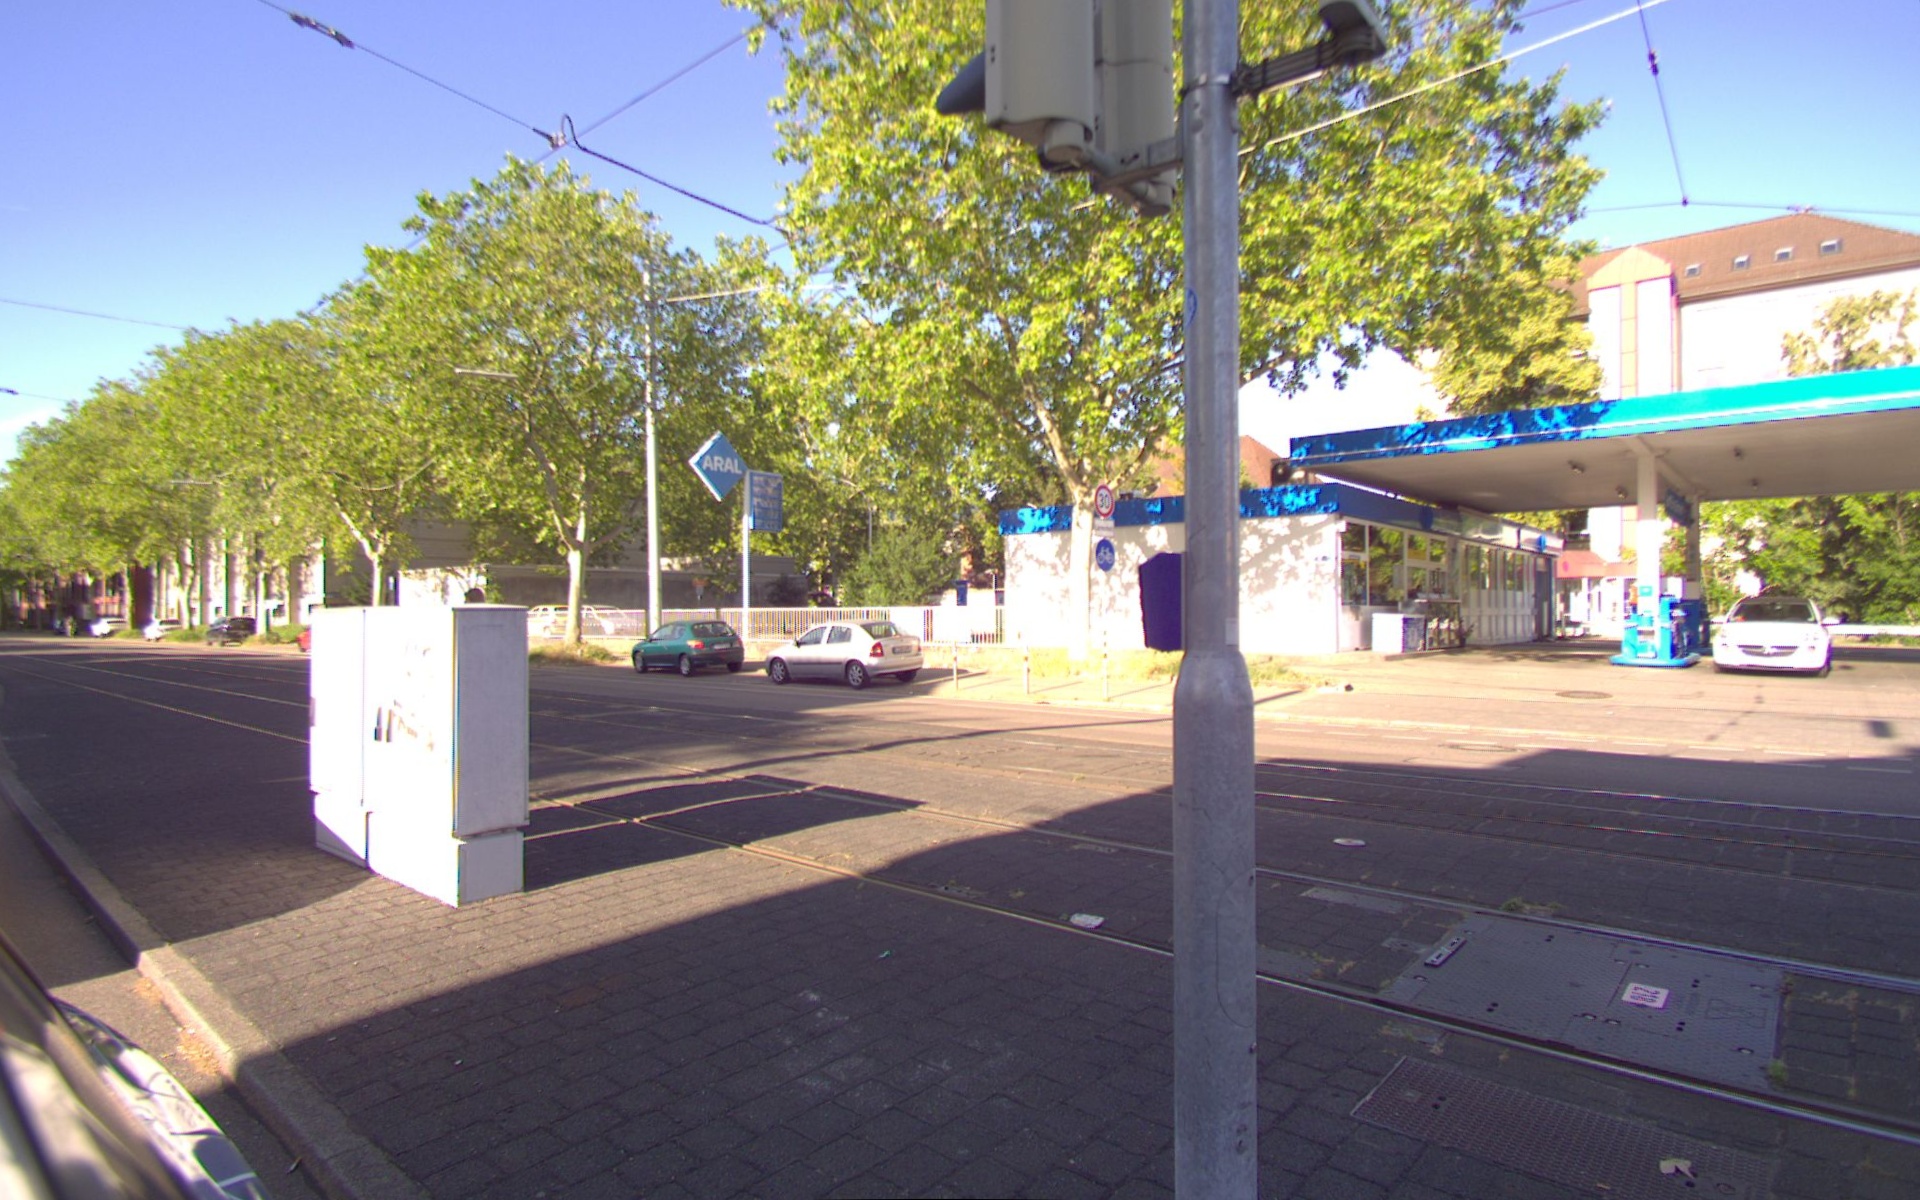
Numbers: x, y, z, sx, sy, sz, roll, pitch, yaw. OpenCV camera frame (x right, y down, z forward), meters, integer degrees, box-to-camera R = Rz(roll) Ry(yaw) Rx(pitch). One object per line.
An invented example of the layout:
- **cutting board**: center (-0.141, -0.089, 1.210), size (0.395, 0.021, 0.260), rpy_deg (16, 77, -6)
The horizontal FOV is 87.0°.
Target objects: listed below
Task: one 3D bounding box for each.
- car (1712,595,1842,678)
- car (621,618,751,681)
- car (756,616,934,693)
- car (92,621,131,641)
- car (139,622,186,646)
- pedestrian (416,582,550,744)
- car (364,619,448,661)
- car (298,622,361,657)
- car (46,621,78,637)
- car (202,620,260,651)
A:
- **car**: center (16.024, 0.676, 19.907), size (1.812, 1.453, 3.947), rpy_deg (-1, -1, 39)
- **car**: center (-7.331, 1.277, 26.930), size (3.519, 1.475, 1.670), rpy_deg (-1, 2, 43)
- **car**: center (-2.633, 1.159, 22.661), size (3.965, 1.475, 1.771), rpy_deg (-1, 2, 43)
- **car**: center (-66.689, 2.399, 79.526), size (3.998, 1.525, 1.779), rpy_deg (-1, -1, 41)
- **car**: center (-53.725, 2.263, 68.160), size (3.998, 1.509, 1.779), rpy_deg (-1, -1, 41)
- **pedestrian**: center (-5.082, 0.658, 10.824), size (1.085, 1.674, 0.694), rpy_deg (-1, 0, 5)
- **car**: center (-21.945, 1.550, 40.049), size (3.652, 1.541, 1.802), rpy_deg (-1, -1, 41)
- **car**: center (-28.559, 1.750, 45.797), size (3.045, 1.519, 1.620), rpy_deg (-1, -1, 41)
- **car**: center (-85.329, 2.728, 96.113), size (3.998, 1.525, 1.779), rpy_deg (-1, -1, 41)
- **car**: center (-40.758, 1.951, 56.588), size (3.998, 1.674, 1.779), rpy_deg (-1, -1, 41)
